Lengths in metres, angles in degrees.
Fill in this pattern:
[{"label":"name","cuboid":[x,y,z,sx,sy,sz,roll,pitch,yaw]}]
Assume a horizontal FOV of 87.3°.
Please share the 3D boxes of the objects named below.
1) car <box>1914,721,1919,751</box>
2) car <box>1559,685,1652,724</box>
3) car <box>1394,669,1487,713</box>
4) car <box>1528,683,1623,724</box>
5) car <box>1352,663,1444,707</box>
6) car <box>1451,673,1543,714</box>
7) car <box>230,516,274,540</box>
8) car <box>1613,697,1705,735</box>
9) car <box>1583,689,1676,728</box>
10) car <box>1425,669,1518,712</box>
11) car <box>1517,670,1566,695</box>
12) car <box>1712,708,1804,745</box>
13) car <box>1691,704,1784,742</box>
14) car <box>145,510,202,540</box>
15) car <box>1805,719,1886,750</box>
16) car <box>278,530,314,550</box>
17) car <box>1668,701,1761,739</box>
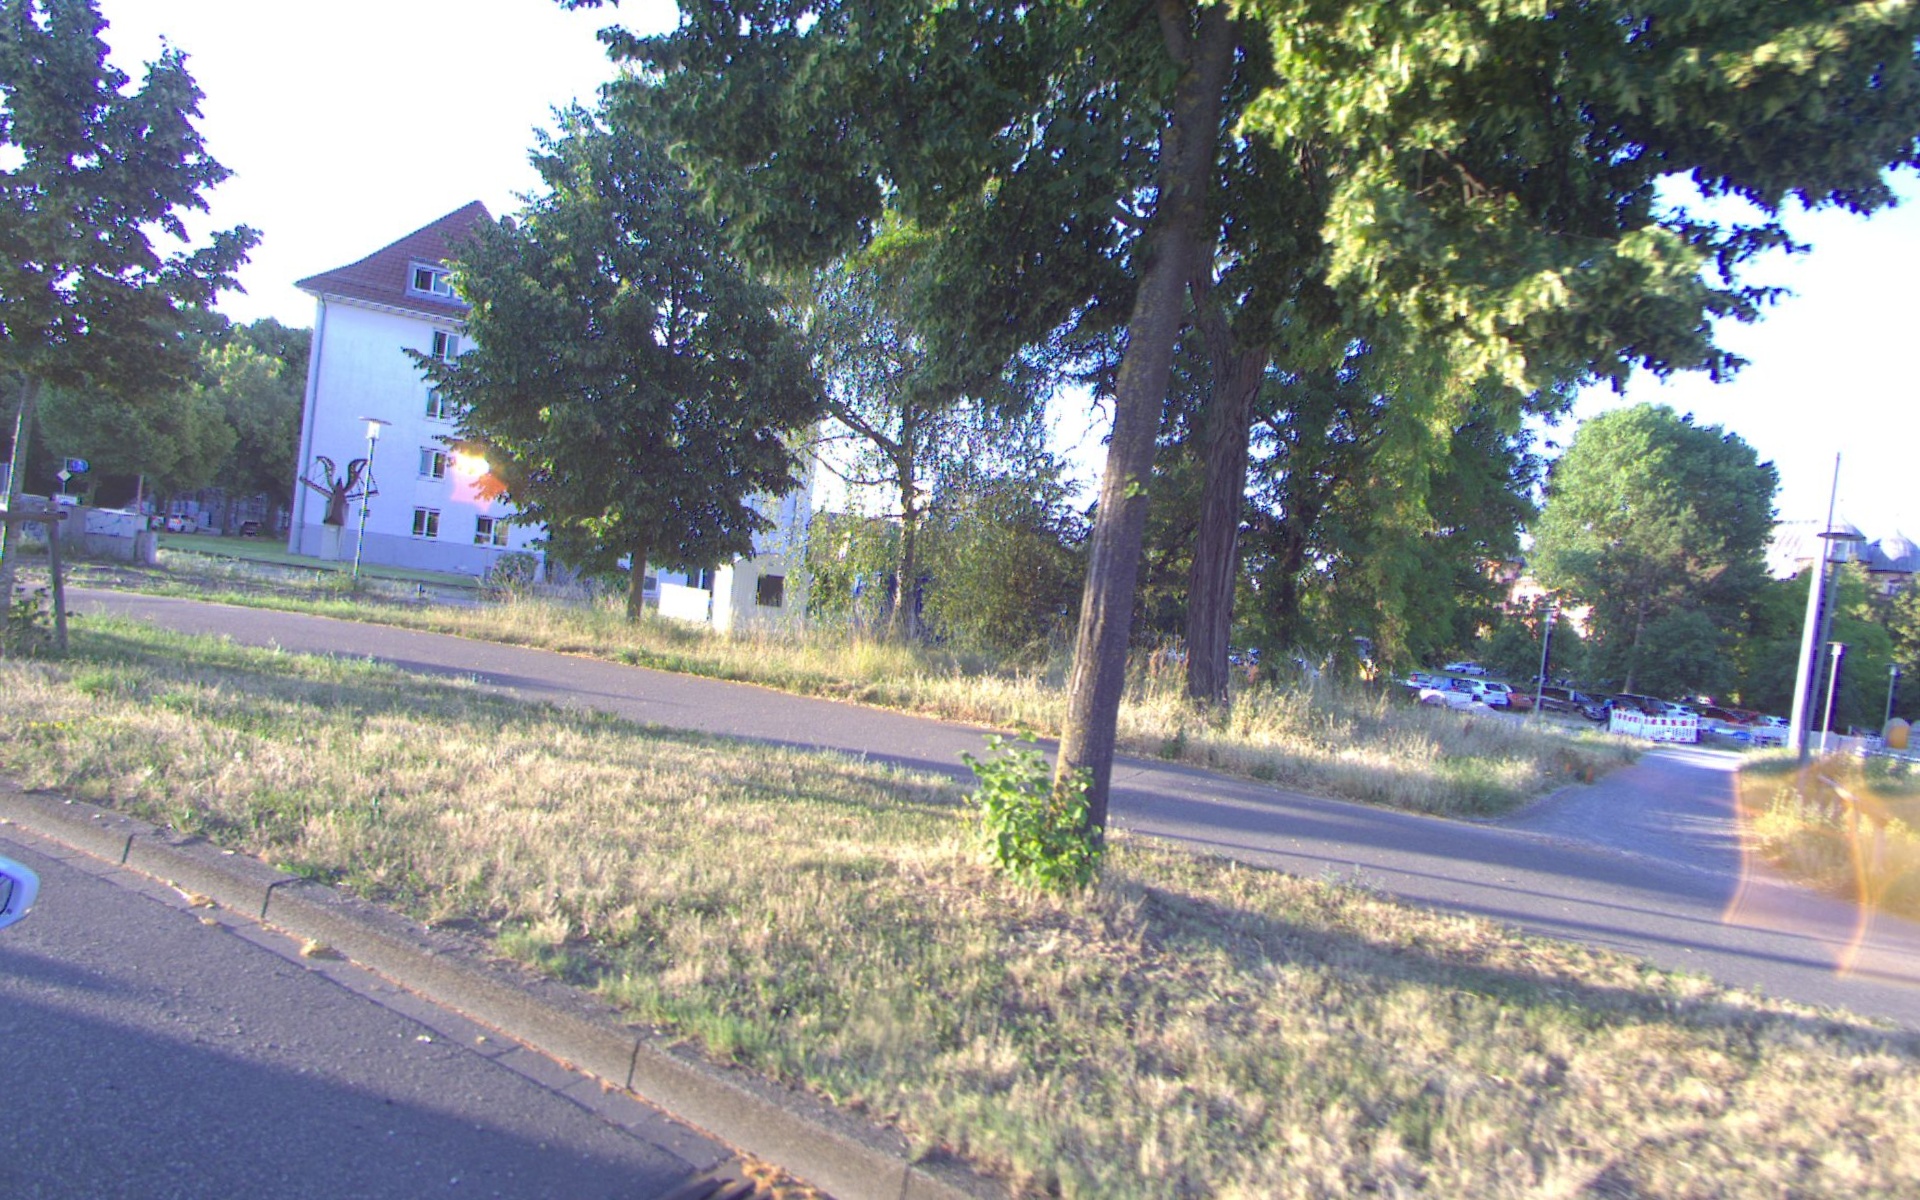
[{"label":"car","cuboid":[71.980,10.154,72.628,1.880,2.121,3.976,7,0,-25]},{"label":"car","cuboid":[36.613,5.910,57.161,1.880,1.572,3.976,7,-1,-25]},{"label":"car","cuboid":[25.183,4.763,52.870,1.928,1.682,3.976,7,-1,-25]},{"label":"car","cuboid":[34.182,5.734,55.972,1.880,1.572,4.074,7,-1,-25]},{"label":"car","cuboid":[22.751,4.404,52.392,1.928,1.682,3.976,7,-1,-25]},{"label":"car","cuboid":[29.319,5.081,55.006,1.880,1.572,3.976,7,-1,-25]},{"label":"car","cuboid":[-61.105,-6.209,86.846,1.930,1.621,4.060,8,-1,-20]},{"label":"car","cuboid":[41.179,6.813,59.360,1.880,1.572,3.976,7,-1,-25]},{"label":"car","cuboid":[38.577,6.257,58.044,1.880,1.572,3.976,7,-1,-25]},{"label":"car","cuboid":[27.238,4.822,53.679,1.928,1.682,3.976,7,-1,-25]},{"label":"car","cuboid":[56.339,8.001,97.434,3.949,1.765,1.989,9,0,-23]},{"label":"car","cuboid":[49.756,7.888,62.769,1.880,1.572,3.976,7,-1,-25]},{"label":"car","cuboid":[47.599,7.516,61.691,1.880,1.572,3.976,7,-1,-25]},{"label":"car","cuboid":[-54.958,-5.188,70.399,1.932,1.621,4.057,8,-1,-22]},{"label":"car","cuboid":[59.705,9.055,67.877,1.779,1.370,3.653,7,-1,-28]},{"label":"car","cuboid":[-66.136,-5.955,100.310,1.930,1.621,4.060,8,-1,-20]},{"label":"car","cuboid":[45.353,7.220,60.570,1.880,1.572,3.976,7,-1,-25]}]
